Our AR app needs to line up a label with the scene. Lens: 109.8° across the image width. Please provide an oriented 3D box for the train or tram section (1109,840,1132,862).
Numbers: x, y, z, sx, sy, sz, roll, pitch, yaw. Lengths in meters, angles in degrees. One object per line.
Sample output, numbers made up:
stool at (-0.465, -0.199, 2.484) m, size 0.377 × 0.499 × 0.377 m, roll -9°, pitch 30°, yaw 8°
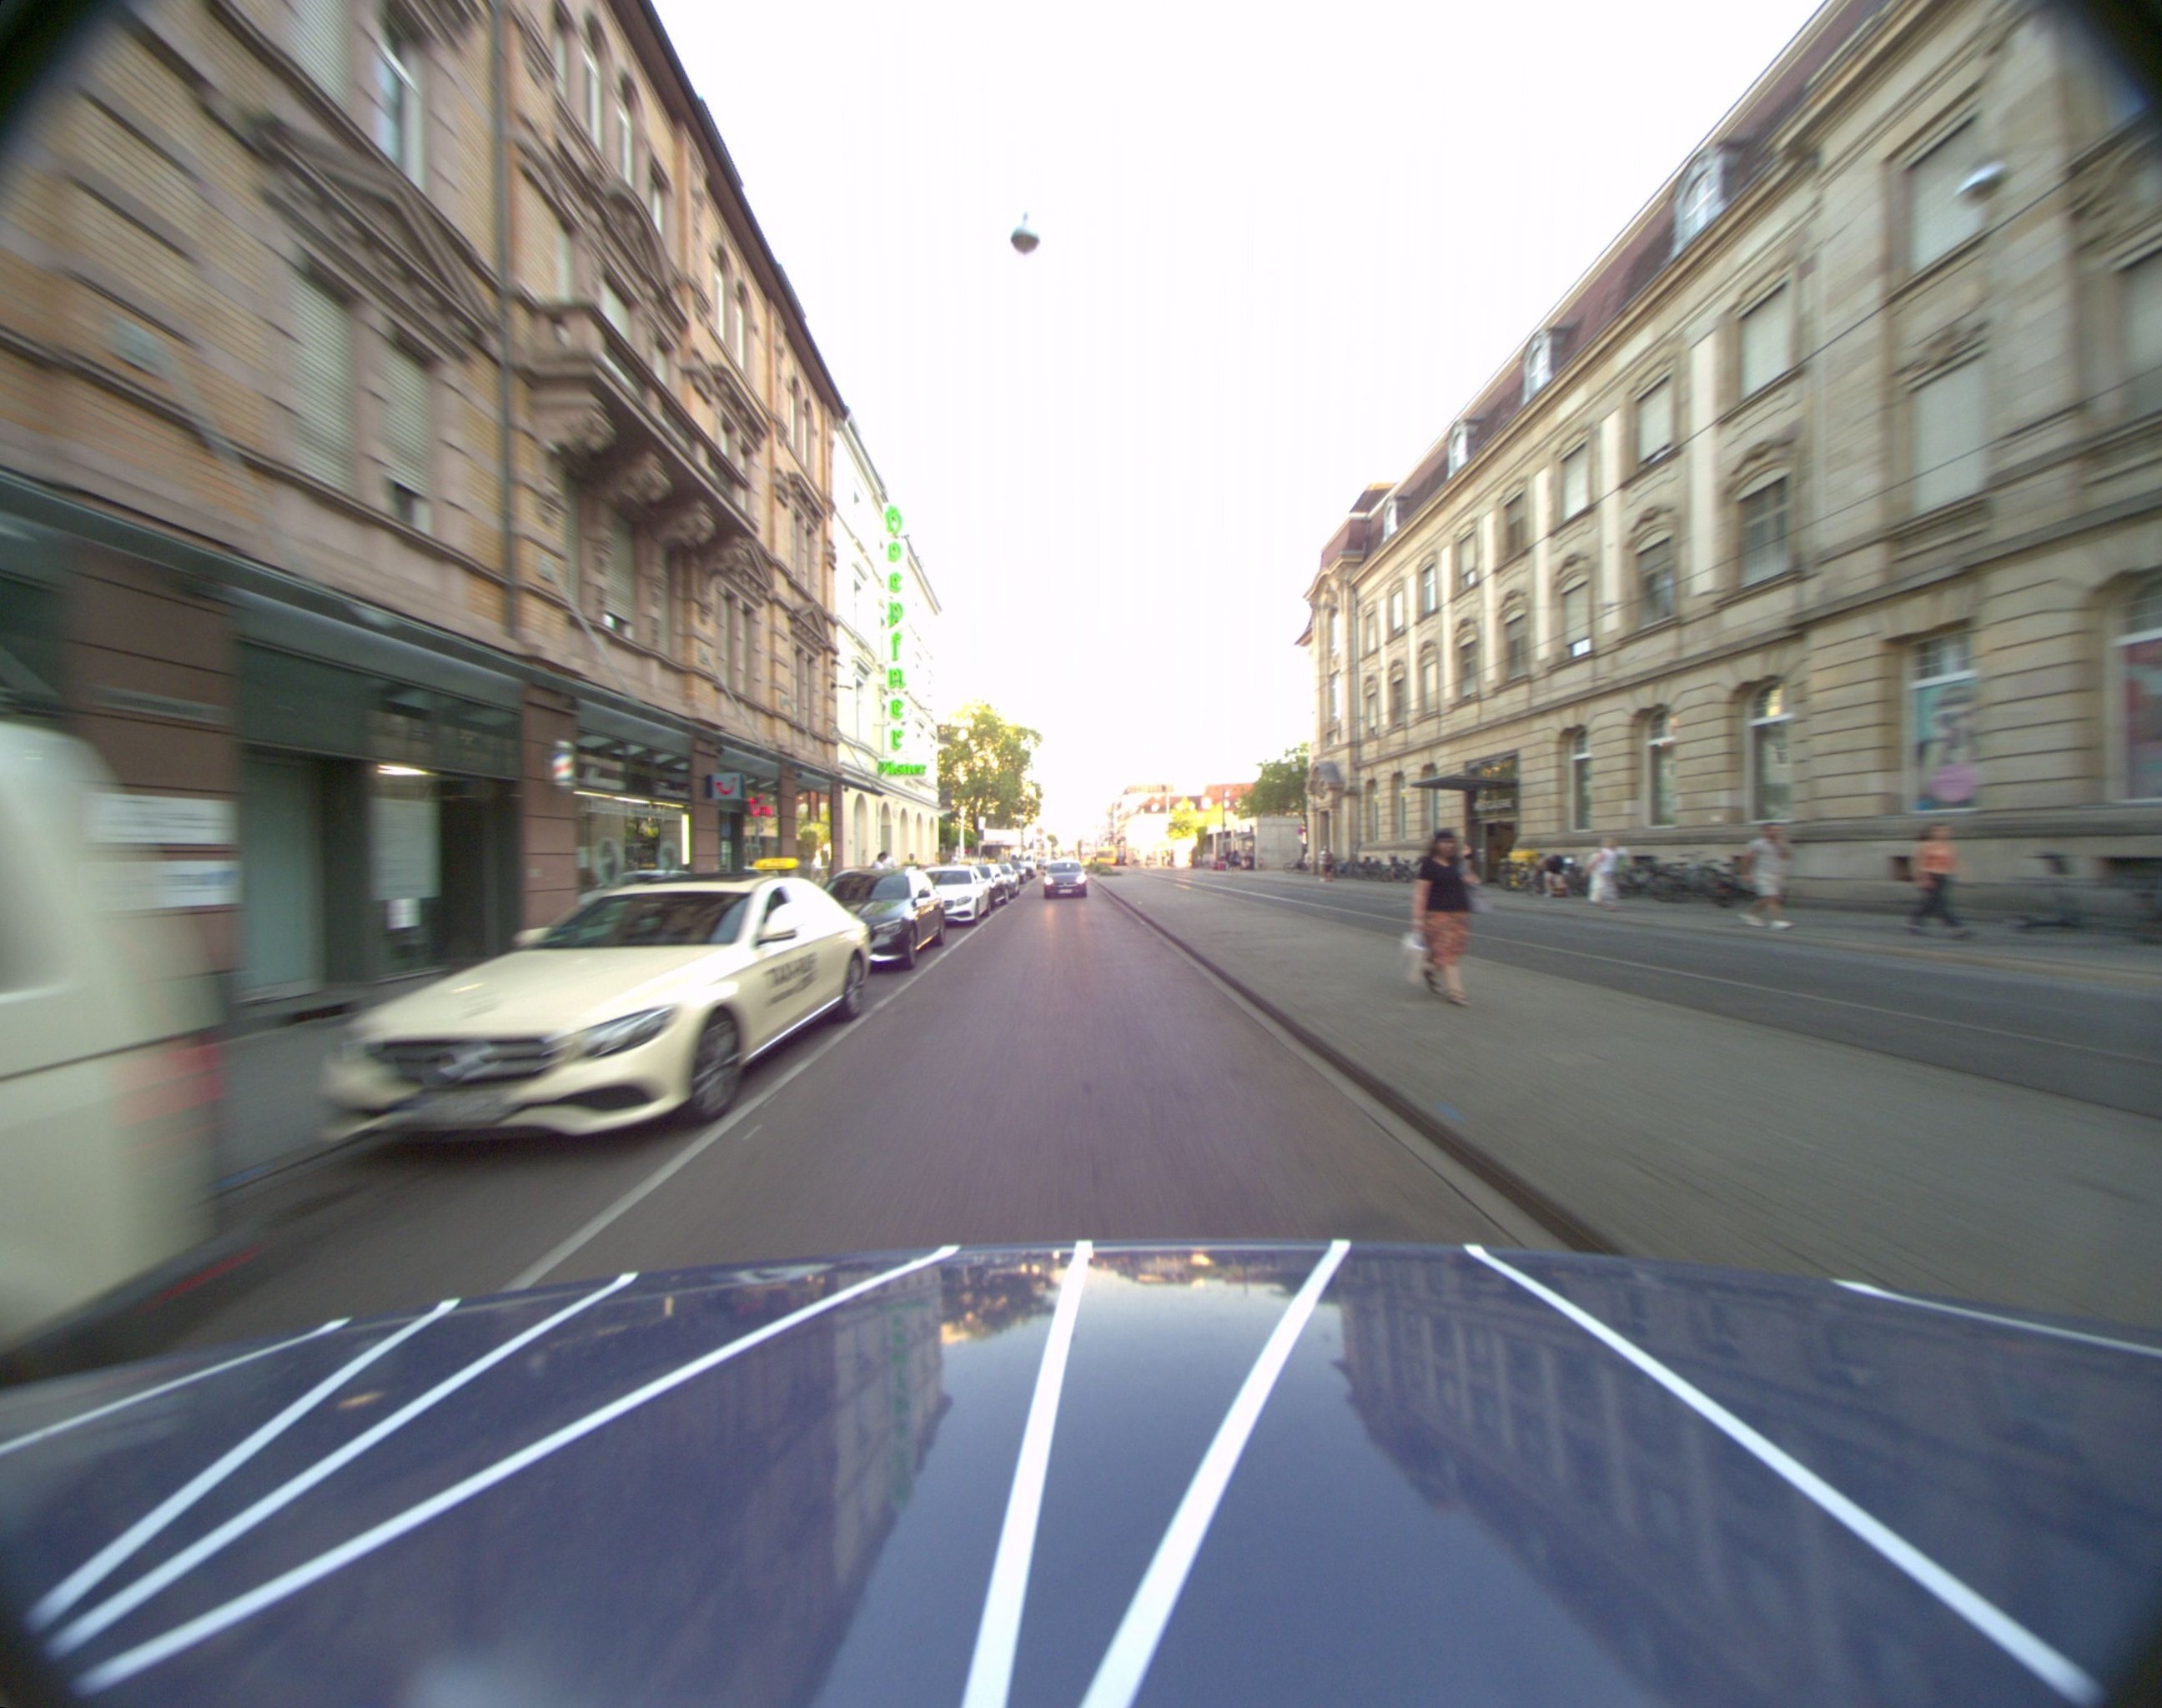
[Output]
train or tram section at (6.795, -0.441, 133.569) m, size 2.902 × 3.664 × 13.479 m, roll -1°, pitch 0°, yaw -1°

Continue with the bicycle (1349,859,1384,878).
bicycle at (14.442, 0.742, 38.507) m, size 1.579 × 0.869 × 0.451 m, roll -2°, pitch 1°, yaw 4°

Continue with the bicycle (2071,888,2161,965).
bicycle at (13.358, 0.874, 9.380) m, size 1.579 × 0.869 × 0.451 m, roll -2°, pitch 1°, yaw 4°

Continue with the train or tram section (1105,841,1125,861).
train or tram section at (6.441, -0.507, 146.288) m, size 2.902 × 3.664 × 11.981 m, roll -1°, pitch 0°, yaw -1°

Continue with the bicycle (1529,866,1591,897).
bicycle at (14.605, 0.841, 23.189) m, size 1.579 × 0.869 × 0.451 m, roll -2°, pitch 1°, yaw 4°

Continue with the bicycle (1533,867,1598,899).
bicycle at (14.275, 0.863, 22.420) m, size 1.579 × 0.869 × 0.451 m, roll -2°, pitch 1°, yaw 4°

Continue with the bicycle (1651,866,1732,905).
bicycle at (15.190, 0.781, 18.922) m, size 1.579 × 0.869 × 0.451 m, roll -2°, pitch 1°, yaw 4°

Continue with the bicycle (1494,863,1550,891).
bicycle at (14.799, 0.765, 25.509) m, size 1.579 × 0.869 × 0.451 m, roll -2°, pitch 1°, yaw 4°

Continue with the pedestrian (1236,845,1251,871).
pedestrian at (10.922, 0.280, 51.048) m, size 0.678 × 1.726 × 0.678 m, roll 0°, pitch 0°, yaw -37°

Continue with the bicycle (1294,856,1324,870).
bicycle at (15.761, 0.613, 52.484) m, size 1.840 × 0.863 × 0.635 m, roll -2°, pitch 1°, yaw -3°

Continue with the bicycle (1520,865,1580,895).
bicycle at (14.701, 0.819, 23.826) m, size 1.579 × 0.869 × 0.451 m, roll -2°, pitch 1°, yaw 4°

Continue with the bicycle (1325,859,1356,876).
bicycle at (14.528, 0.772, 42.577) m, size 1.579 × 0.869 × 0.451 m, roll -2°, pitch 1°, yaw 4°

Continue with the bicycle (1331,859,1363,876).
bicycle at (14.252, 0.722, 40.720) m, size 1.579 × 0.869 × 0.451 m, roll -2°, pitch 1°, yaw 4°

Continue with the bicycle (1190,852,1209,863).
bicycle at (13.744, 0.423, 88.086) m, size 2.132 × 1.153 × 0.692 m, roll -1°, pitch 1°, yaw 0°

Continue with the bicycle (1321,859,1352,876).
bicycle at (14.486, 0.767, 43.115) m, size 1.579 × 0.869 × 0.451 m, roll -2°, pitch 1°, yaw 4°

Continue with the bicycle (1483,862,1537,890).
bicycle at (14.755, 0.759, 26.154) m, size 1.579 × 0.869 × 0.451 m, roll -2°, pitch 1°, yaw 4°

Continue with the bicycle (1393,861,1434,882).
bicycle at (14.763, 0.787, 33.754) m, size 1.579 × 0.869 × 0.451 m, roll -2°, pitch 1°, yaw 4°

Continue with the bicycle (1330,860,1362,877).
bicycle at (14.518, 0.784, 41.656) m, size 1.579 × 0.869 × 0.451 m, roll -2°, pitch 1°, yaw 4°

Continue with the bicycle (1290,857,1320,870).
bicycle at (15.680, 0.665, 53.207) m, size 1.840 × 0.863 × 0.635 m, roll -2°, pitch 1°, yaw -3°

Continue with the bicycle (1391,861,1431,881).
bicycle at (14.957, 0.770, 34.476) m, size 1.579 × 0.869 × 0.451 m, roll -2°, pitch 1°, yaw 4°

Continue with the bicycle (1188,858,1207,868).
bicycle at (13.710, 1.031, 89.740) m, size 2.132 × 1.153 × 0.692 m, roll -1°, pitch 1°, yaw 0°

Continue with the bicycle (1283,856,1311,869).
bicycle at (15.729, 0.619, 55.263) m, size 1.840 × 0.863 × 0.635 m, roll -2°, pitch 1°, yaw -3°

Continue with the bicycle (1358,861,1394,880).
bicycle at (14.637, 0.823, 37.732) m, size 1.579 × 0.869 × 0.451 m, roll -2°, pitch 1°, yaw 4°

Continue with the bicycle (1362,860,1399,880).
bicycle at (14.337, 0.772, 36.370) m, size 1.579 × 0.869 × 0.451 m, roll -2°, pitch 1°, yaw 4°

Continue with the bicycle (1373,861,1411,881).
bicycle at (14.484, 0.778, 35.378) m, size 1.579 × 0.869 × 0.451 m, roll -2°, pitch 1°, yaw 4°

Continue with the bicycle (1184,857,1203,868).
bicycle at (13.498, 1.019, 91.444) m, size 2.132 × 1.153 × 0.692 m, roll -1°, pitch 1°, yaw 0°

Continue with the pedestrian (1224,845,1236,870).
pedestrian at (10.149, 0.230, 51.682) m, size 0.650 × 1.726 × 0.594 m, roll 0°, pitch 0°, yaw -10°

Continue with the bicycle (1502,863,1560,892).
bicycle at (14.746, 0.756, 24.922) m, size 1.579 × 0.869 × 0.451 m, roll -2°, pitch 1°, yaw 4°

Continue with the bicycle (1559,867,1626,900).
bicycle at (14.591, 0.829, 21.687) m, size 1.579 × 0.869 × 0.451 m, roll -2°, pitch 1°, yaw 4°

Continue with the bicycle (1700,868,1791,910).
bicycle at (14.883, 0.784, 17.043) m, size 1.579 × 0.869 × 0.451 m, roll -2°, pitch 1°, yaw 4°

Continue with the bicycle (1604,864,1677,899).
bicycle at (15.116, 0.739, 20.544) m, size 1.579 × 0.869 × 0.451 m, roll -2°, pitch 1°, yaw 4°
